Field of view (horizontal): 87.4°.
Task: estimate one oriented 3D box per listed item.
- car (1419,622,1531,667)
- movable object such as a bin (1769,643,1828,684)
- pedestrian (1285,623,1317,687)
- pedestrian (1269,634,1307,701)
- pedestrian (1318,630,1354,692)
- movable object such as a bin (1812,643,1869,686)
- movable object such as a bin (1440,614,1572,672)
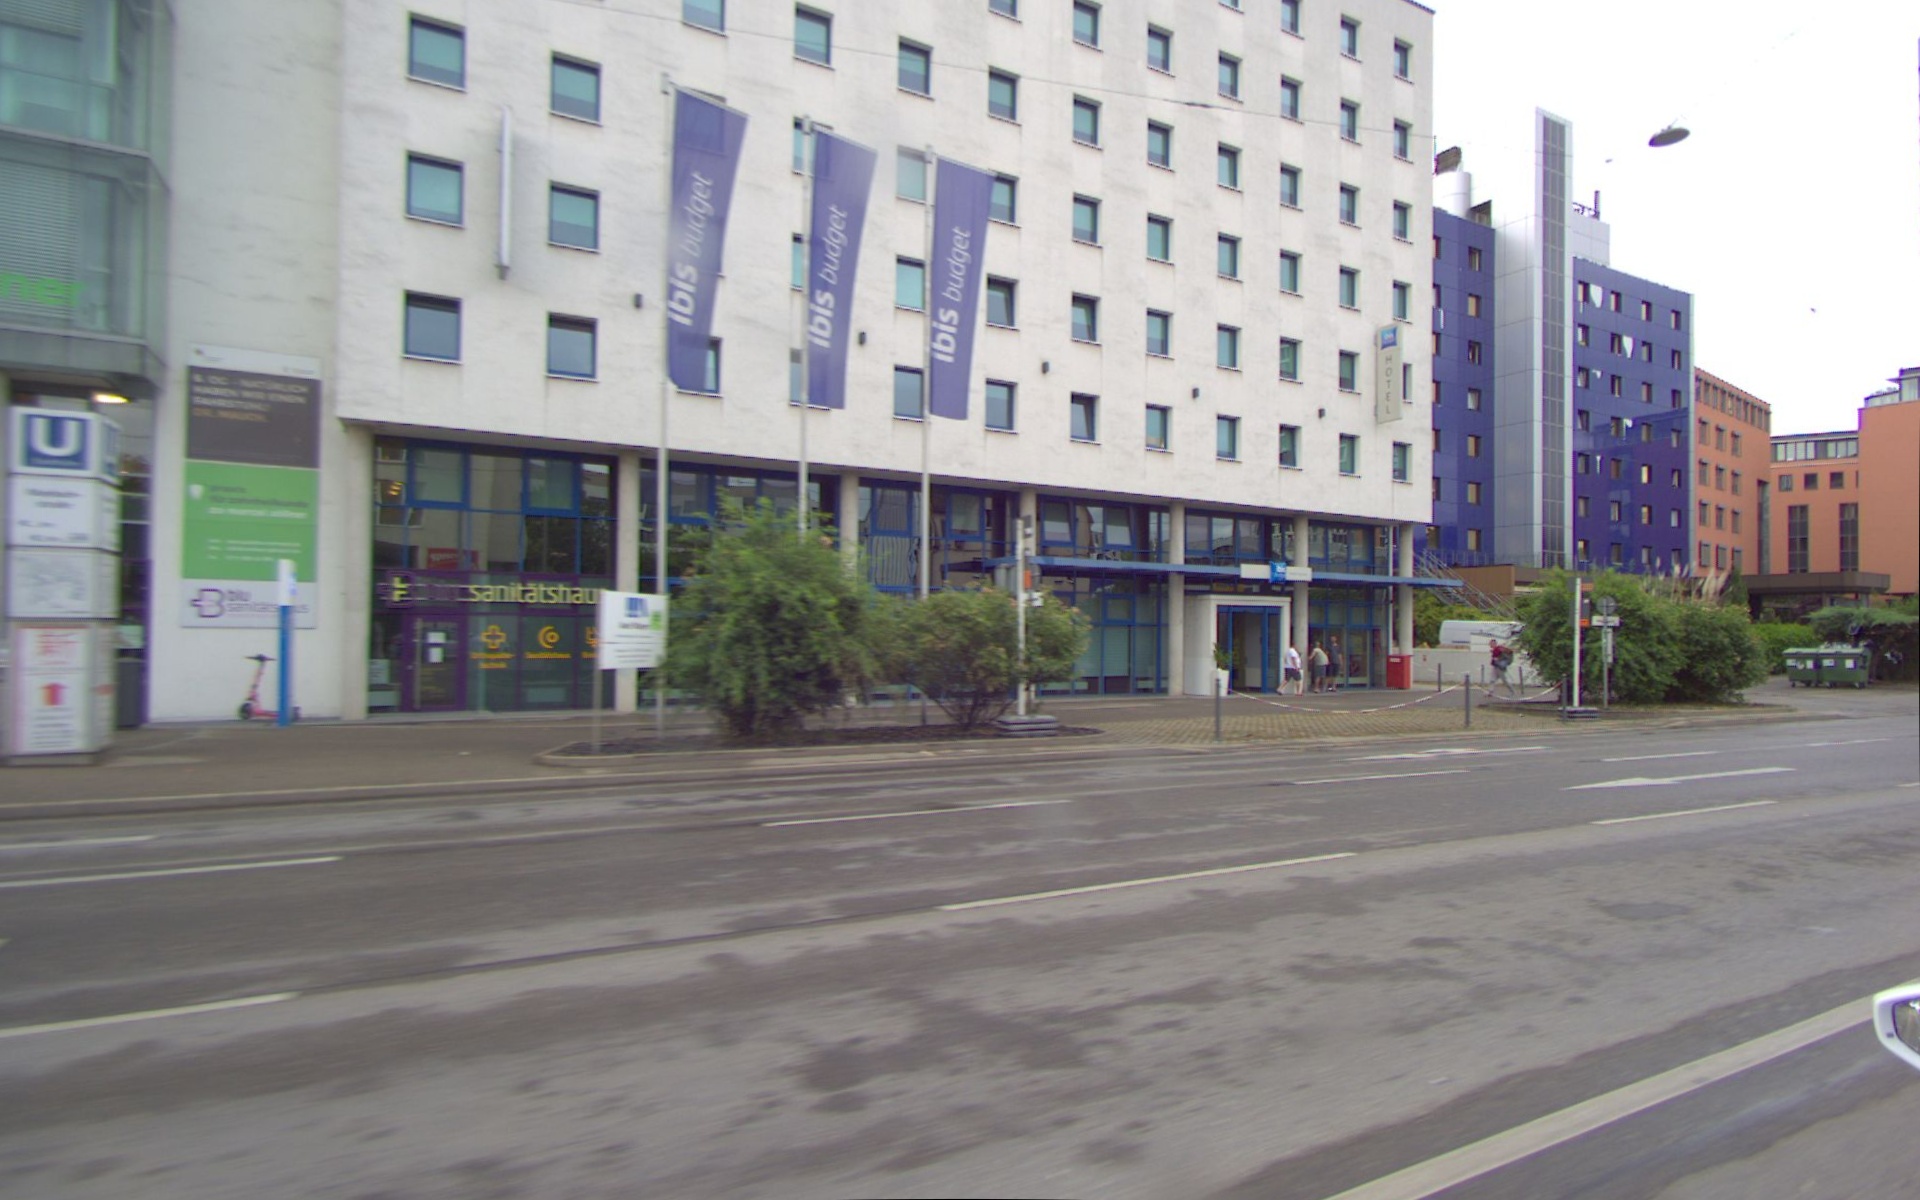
[{"bbox_3d":[25.440,2.274,49.784,1.870,2.039,4.695,4,-5,-28],"label":"car"},{"bbox_3d":[31.819,2.431,38.148,0.936,1.510,1.390,3,-5,-17],"label":"movable object such as a bin"},{"bbox_3d":[11.171,1.803,32.876,0.801,2.039,0.803,-2,-5,34],"label":"pedestrian"},{"bbox_3d":[10.233,2.119,31.342,0.805,2.039,0.799,4,-5,-27],"label":"pedestrian"},{"bbox_3d":[12.501,2.036,33.444,0.883,2.039,0.816,1,-5,1],"label":"pedestrian"},{"bbox_3d":[31.937,2.354,36.439,0.943,1.510,1.380,5,-6,-38],"label":"movable object such as a bin"},{"bbox_3d":[27.522,2.258,50.903,2.135,2.661,5.604,4,-5,-28],"label":"movable object such as a bin"}]
